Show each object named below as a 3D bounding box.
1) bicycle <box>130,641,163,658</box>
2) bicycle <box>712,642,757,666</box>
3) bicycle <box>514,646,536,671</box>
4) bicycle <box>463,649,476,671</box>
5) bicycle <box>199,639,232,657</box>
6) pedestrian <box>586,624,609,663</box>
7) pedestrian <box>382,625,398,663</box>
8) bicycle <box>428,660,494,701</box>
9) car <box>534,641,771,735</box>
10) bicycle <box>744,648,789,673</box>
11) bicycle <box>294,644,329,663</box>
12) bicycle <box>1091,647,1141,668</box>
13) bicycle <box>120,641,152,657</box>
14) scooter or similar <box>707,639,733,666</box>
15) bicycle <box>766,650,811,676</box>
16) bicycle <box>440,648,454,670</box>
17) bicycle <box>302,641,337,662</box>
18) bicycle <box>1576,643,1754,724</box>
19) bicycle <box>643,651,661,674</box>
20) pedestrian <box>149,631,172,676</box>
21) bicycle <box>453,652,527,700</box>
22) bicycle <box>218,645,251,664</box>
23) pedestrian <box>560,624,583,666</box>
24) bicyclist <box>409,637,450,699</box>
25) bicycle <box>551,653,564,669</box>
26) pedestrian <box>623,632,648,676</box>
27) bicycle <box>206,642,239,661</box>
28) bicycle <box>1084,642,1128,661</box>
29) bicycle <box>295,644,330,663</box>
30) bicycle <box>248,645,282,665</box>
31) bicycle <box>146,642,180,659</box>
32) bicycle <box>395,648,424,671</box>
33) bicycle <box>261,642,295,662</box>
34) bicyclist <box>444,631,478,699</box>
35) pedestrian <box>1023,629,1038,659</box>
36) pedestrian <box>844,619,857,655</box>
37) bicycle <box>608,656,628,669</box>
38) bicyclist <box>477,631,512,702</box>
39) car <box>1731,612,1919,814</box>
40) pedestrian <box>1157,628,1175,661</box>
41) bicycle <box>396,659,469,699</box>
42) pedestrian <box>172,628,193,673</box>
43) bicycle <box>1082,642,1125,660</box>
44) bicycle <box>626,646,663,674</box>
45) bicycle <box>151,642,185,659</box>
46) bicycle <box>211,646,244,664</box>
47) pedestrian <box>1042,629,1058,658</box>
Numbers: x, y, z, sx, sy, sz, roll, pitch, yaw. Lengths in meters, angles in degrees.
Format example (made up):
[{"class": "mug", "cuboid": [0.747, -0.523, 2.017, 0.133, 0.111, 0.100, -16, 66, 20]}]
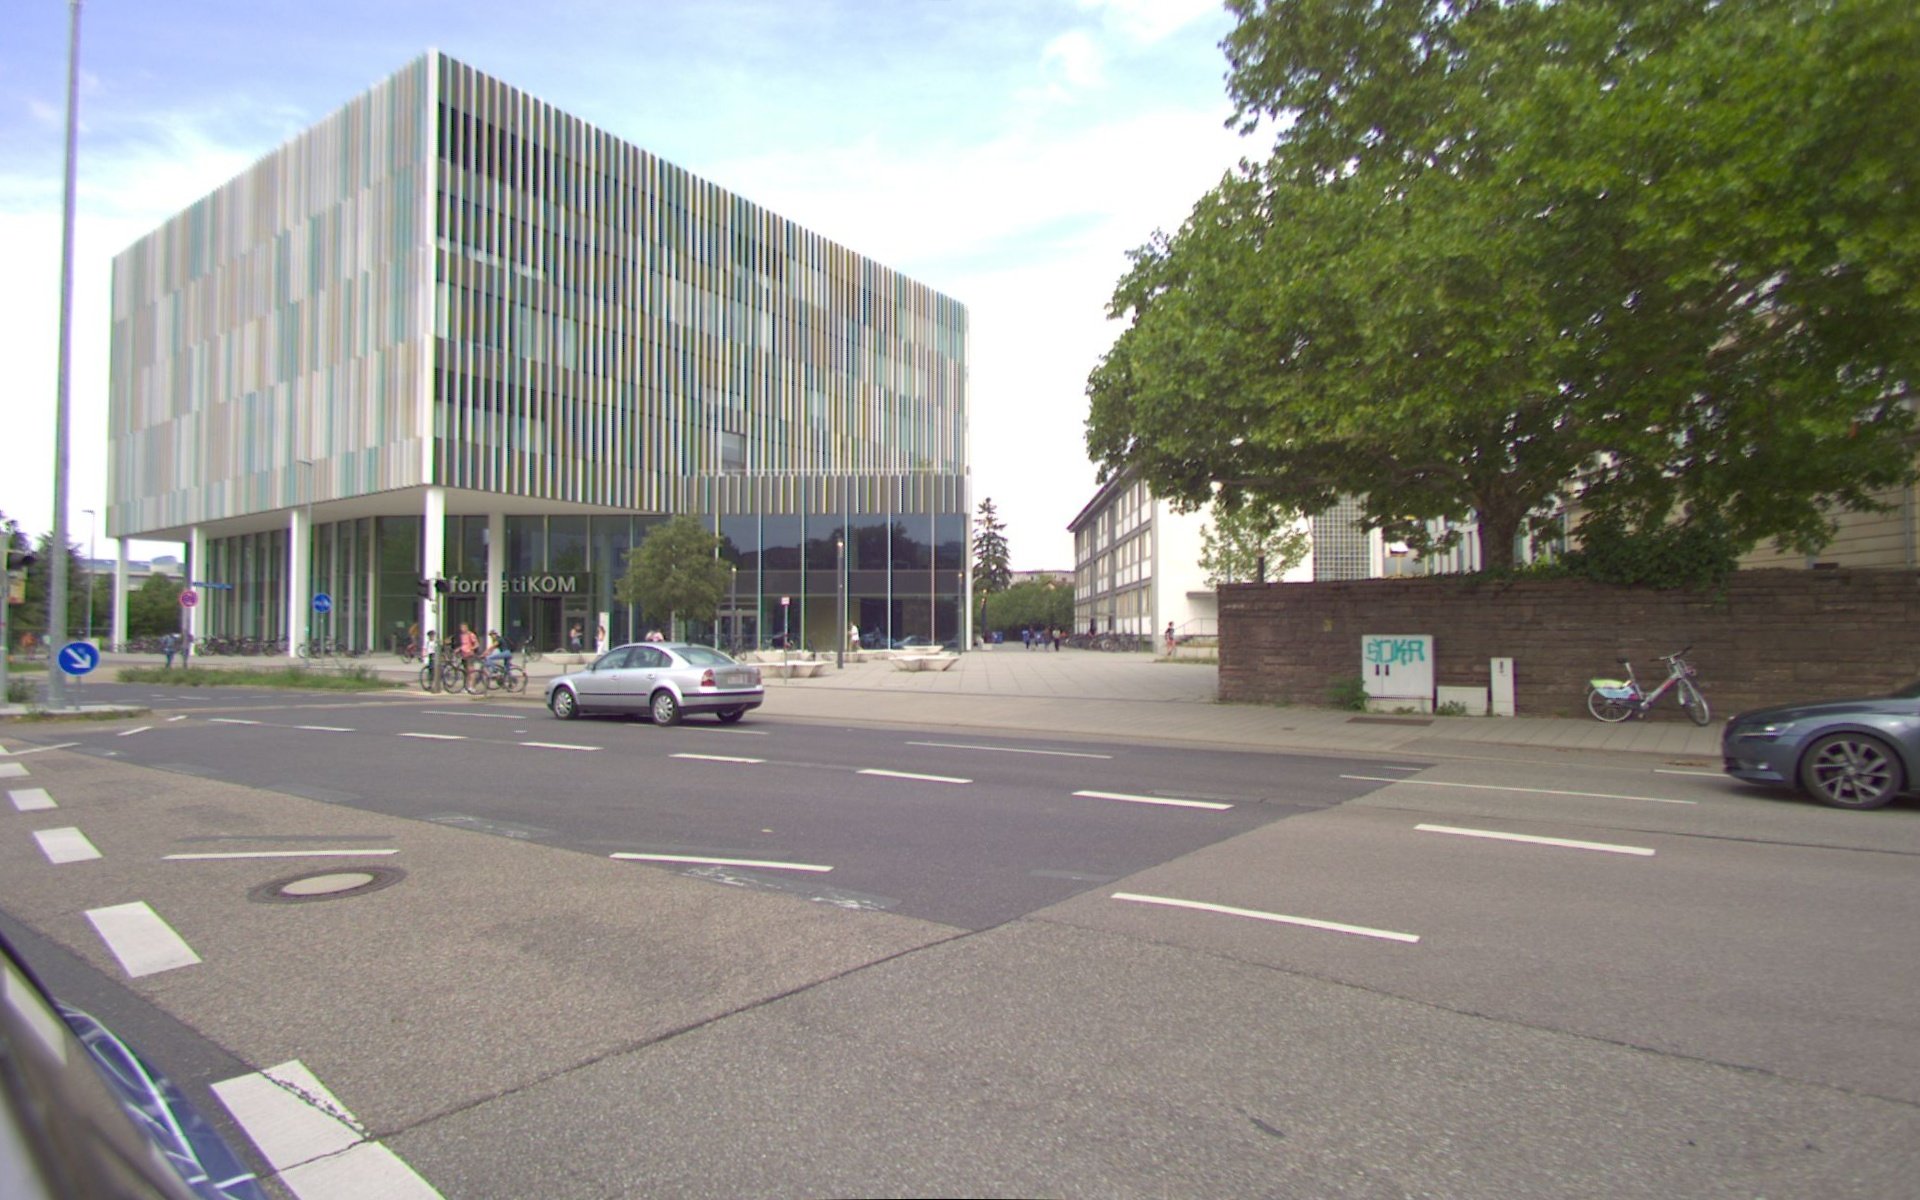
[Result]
[{"class": "bicycle", "cuboid": [-55.491, 3.383, 69.028, 0.433, 1.031, 1.686, -2, 0, 30]}, {"class": "bicycle", "cuboid": [-10.327, 2.471, 46.491, 0.668, 1.007, 2.664, -1, -2, 20]}, {"class": "bicycle", "cuboid": [-19.900, 2.674, 46.324, 0.388, 1.037, 1.547, -1, 0, -2]}, {"class": "bicycle", "cuboid": [-22.676, 2.778, 46.794, 0.387, 0.944, 1.603, -1, 0, -21]}, {"class": "bicycle", "cuboid": [-44.773, 2.869, 60.871, 0.388, 1.031, 1.566, -1, -4, 30]}, {"class": "pedestrian", "cuboid": [-15.333, 1.835, 42.798, 0.670, 1.612, 0.729, -1, -2, 5]}, {"class": "pedestrian", "cuboid": [-31.213, 2.398, 55.421, 0.623, 2.059, 0.506, -3, -3, 34]}, {"class": "bicycle", "cuboid": [-13.521, 2.173, 27.470, 0.567, 0.996, 1.680, -1, -1, 21]}, {"class": "car", "cuboid": [-5.633, 1.497, 18.316, 4.536, 1.500, 1.745, -2, -2, 36]}, {"class": "bicycle", "cuboid": [-8.848, 2.768, 46.443, 0.791, 1.098, 2.664, -1, -2, 20]}, {"class": "bicycle", "cuboid": [-34.401, 2.818, 53.709, 0.388, 0.944, 1.530, -2, 0, 30]}, {"class": "bicycle", "cuboid": [8.623, 3.160, 55.890, 2.637, 1.142, 0.745, -1, -2, 2]}, {"class": "bicycle", "cuboid": [-57.353, 3.427, 70.472, 0.433, 1.031, 1.686, -2, 0, 30]}, {"class": "scooter or similar", "cuboid": [-11.193, 2.438, 47.182, 0.588, 1.208, 2.123, -1, -2, 4]}, {"class": "bicycle", "cuboid": [-7.752, 2.841, 45.877, 0.791, 1.098, 2.664, -1, -2, 20]}, {"class": "bicycle", "cuboid": [-23.587, 2.696, 46.552, 0.387, 0.944, 1.603, -1, 0, -21]}, {"class": "bicycle", "cuboid": [-33.371, 2.689, 52.756, 0.398, 1.002, 1.530, -2, 0, 31]}, {"class": "bicycle", "cuboid": [10.699, 1.246, 15.440, 2.159, 1.134, 0.573, -2, 0, 34]}, {"class": "bicycle", "cuboid": [-14.062, 2.834, 46.247, 0.613, 0.992, 2.255, 0, -2, -12]}, {"class": "pedestrian", "cuboid": [-33.072, 2.225, 41.864, 0.771, 1.851, 0.506, -3, -3, 35]}, {"class": "bicycle", "cuboid": [-12.353, 1.977, 26.671, 0.602, 1.179, 1.882, -1, -2, 20]}, {"class": "bicycle", "cuboid": [-42.380, 3.189, 59.141, 0.388, 1.031, 1.566, -2, 0, 30]}, {"class": "pedestrian", "cuboid": [-16.335, 1.898, 42.537, 0.669, 1.753, 0.730, 0, -2, 2]}, {"class": "bicyclist", "cuboid": [-14.941, 1.907, 28.517, 0.719, 1.685, 0.723, -1, -1, 22]}, {"class": "bicycle", "cuboid": [-18.725, 2.826, 47.060, 0.387, 0.678, 1.801, -1, 0, -17]}, {"class": "pedestrian", "cuboid": [-11.959, 1.989, 37.298, 0.574, 1.593, 0.644, -2, -3, 40]}, {"class": "bicycle", "cuboid": [-44.257, 3.071, 60.729, 0.388, 1.031, 1.566, -2, 0, 30]}, {"class": "bicycle", "cuboid": [9.220, 3.261, 63.869, 2.637, 1.142, 0.745, -1, -2, 2]}, {"class": "bicycle", "cuboid": [-33.985, 2.809, 53.098, 0.392, 0.944, 1.530, -2, 0, 30]}, {"class": "bicycle", "cuboid": [-39.704, 3.131, 57.801, 0.388, 1.031, 1.566, -2, 0, 30]}, {"class": "bicycle", "cuboid": [-52.613, 3.315, 66.823, 0.433, 1.031, 1.686, -2, 0, 30]}, {"class": "bicycle", "cuboid": [-25.591, 2.757, 47.044, 0.389, 0.944, 1.610, -1, 0, 2]}, {"class": "bicycle", "cuboid": [-38.148, 2.912, 56.652, 0.388, 1.031, 1.566, -2, 0, 30]}, {"class": "bicyclist", "cuboid": [-13.531, 1.749, 27.468, 0.558, 1.820, 0.597, -1, -1, 22]}, {"class": "pedestrian", "cuboid": [4.656, 2.917, 66.975, 0.962, 1.945, 1.070, -1, -3, 2]}, {"class": "pedestrian", "cuboid": [-5.568, 1.884, 51.301, 0.626, 1.792, 0.597, 0, -2, -9]}, {"class": "bicycle", "cuboid": [-15.503, 2.841, 45.906, 0.613, 0.526, 2.255, 0, -2, -12]}, {"class": "bicyclist", "cuboid": [-12.301, 1.748, 26.747, 0.558, 1.820, 0.597, -1, -1, 22]}, {"class": "car", "cuboid": [9.302, 0.904, 8.229, 4.736, 1.628, 1.879, -2, -2, 37]}, {"class": "pedestrian", "cuboid": [9.836, 2.135, 48.330, 0.588, 1.560, 0.659, 0, -2, -12]}, {"class": "bicycle", "cuboid": [-14.890, 2.203, 28.629, 0.723, 0.996, 1.809, -1, -1, 21]}, {"class": "pedestrian", "cuboid": [-32.792, 2.133, 42.682, 0.623, 1.851, 0.506, -3, -3, 35]}, {"class": "bicycle", "cuboid": [9.203, 3.274, 64.917, 2.637, 1.142, 0.745, -1, -2, 2]}, {"class": "bicycle", "cuboid": [-11.792, 2.236, 37.805, 1.747, 1.006, 0.434, -2, -3, 39]}, {"class": "bicycle", "cuboid": [-51.913, 3.307, 66.342, 0.433, 1.031, 1.686, -2, 0, 30]}, {"class": "bicycle", "cuboid": [-43.730, 3.278, 60.468, 0.388, 1.031, 1.566, -2, 0, 30]}, {"class": "pedestrian", "cuboid": [5.971, 2.905, 67.446, 0.962, 1.945, 1.070, -1, -3, 2]}]
